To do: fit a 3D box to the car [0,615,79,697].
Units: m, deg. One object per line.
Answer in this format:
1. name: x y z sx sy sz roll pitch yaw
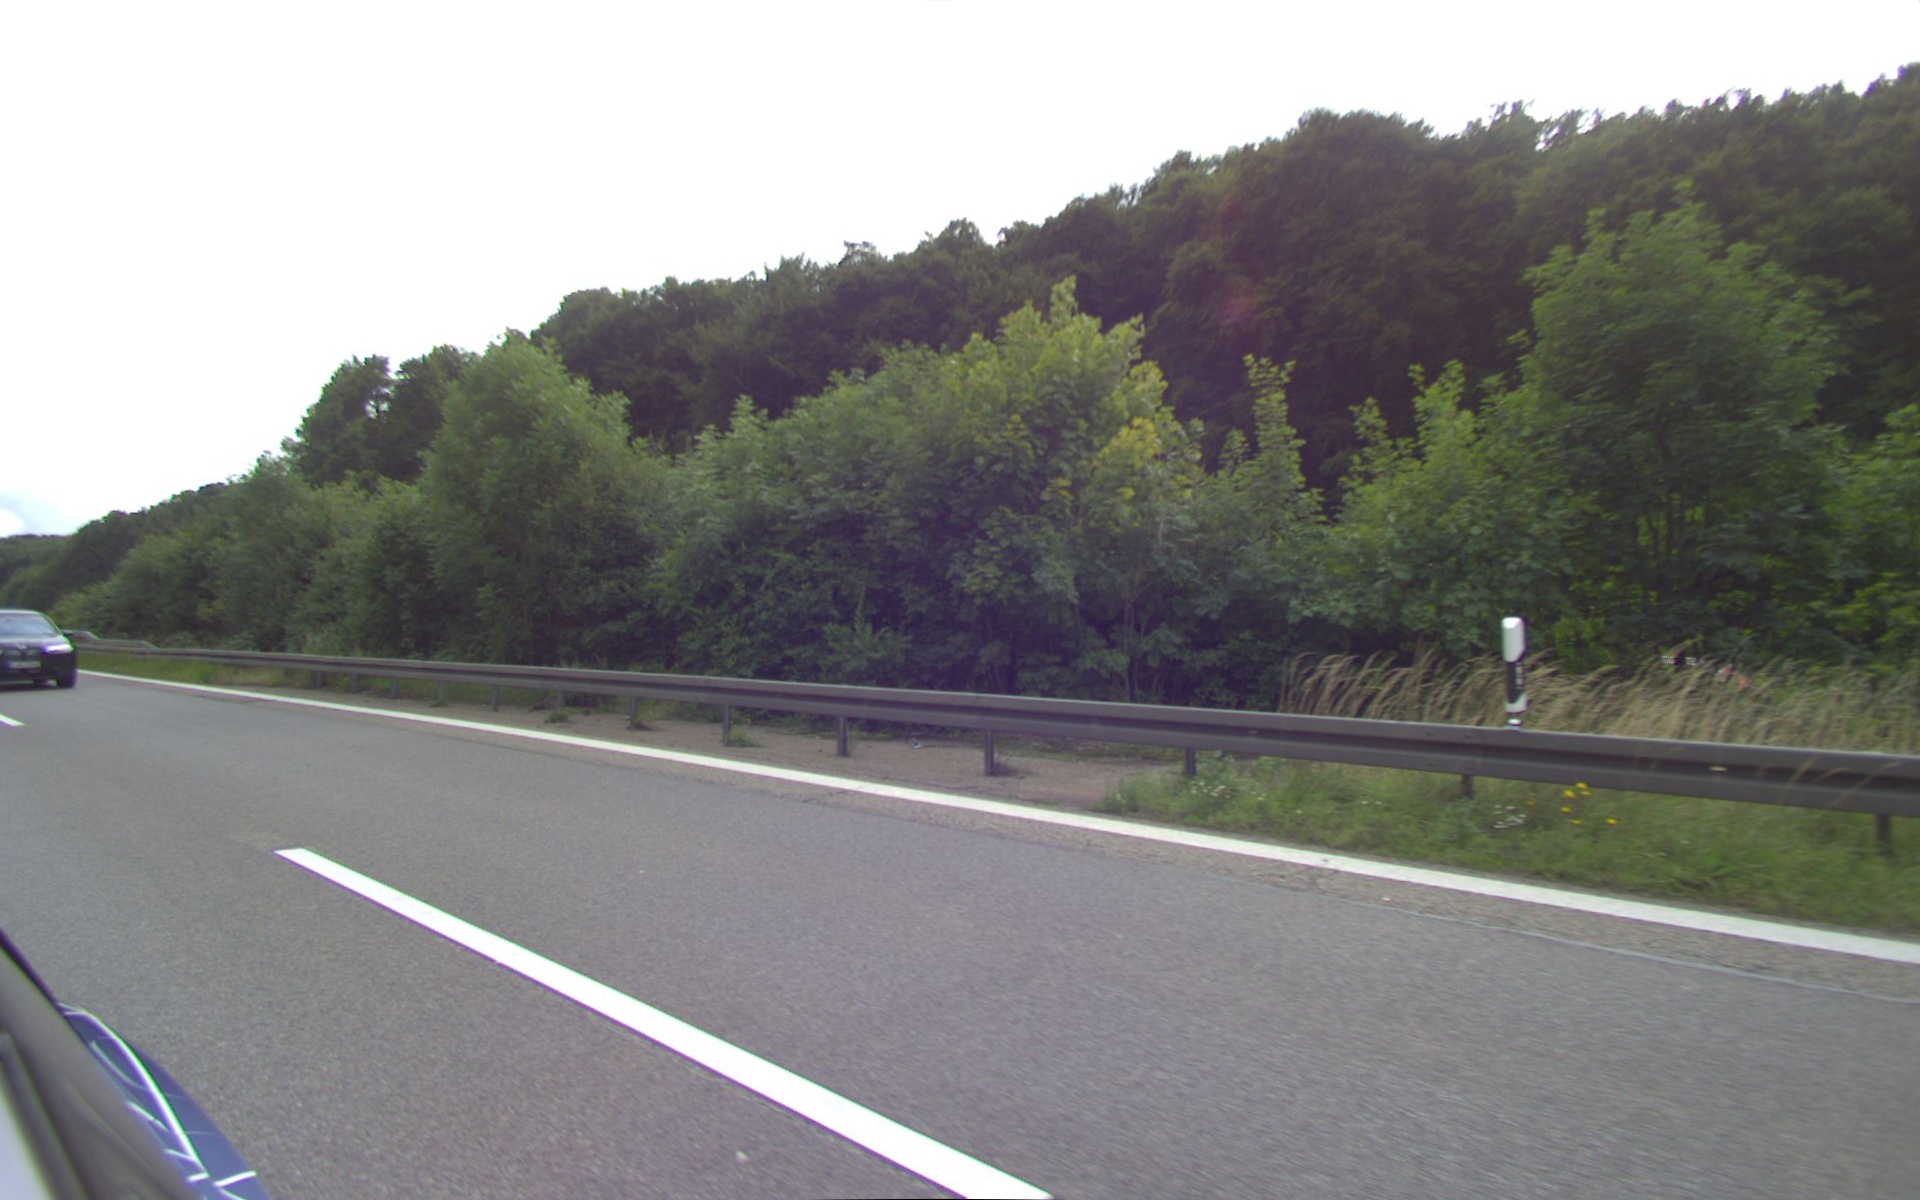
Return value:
1. car: -21.066 1.186 22.191 4.411 1.678 1.973 -1 -1 40
